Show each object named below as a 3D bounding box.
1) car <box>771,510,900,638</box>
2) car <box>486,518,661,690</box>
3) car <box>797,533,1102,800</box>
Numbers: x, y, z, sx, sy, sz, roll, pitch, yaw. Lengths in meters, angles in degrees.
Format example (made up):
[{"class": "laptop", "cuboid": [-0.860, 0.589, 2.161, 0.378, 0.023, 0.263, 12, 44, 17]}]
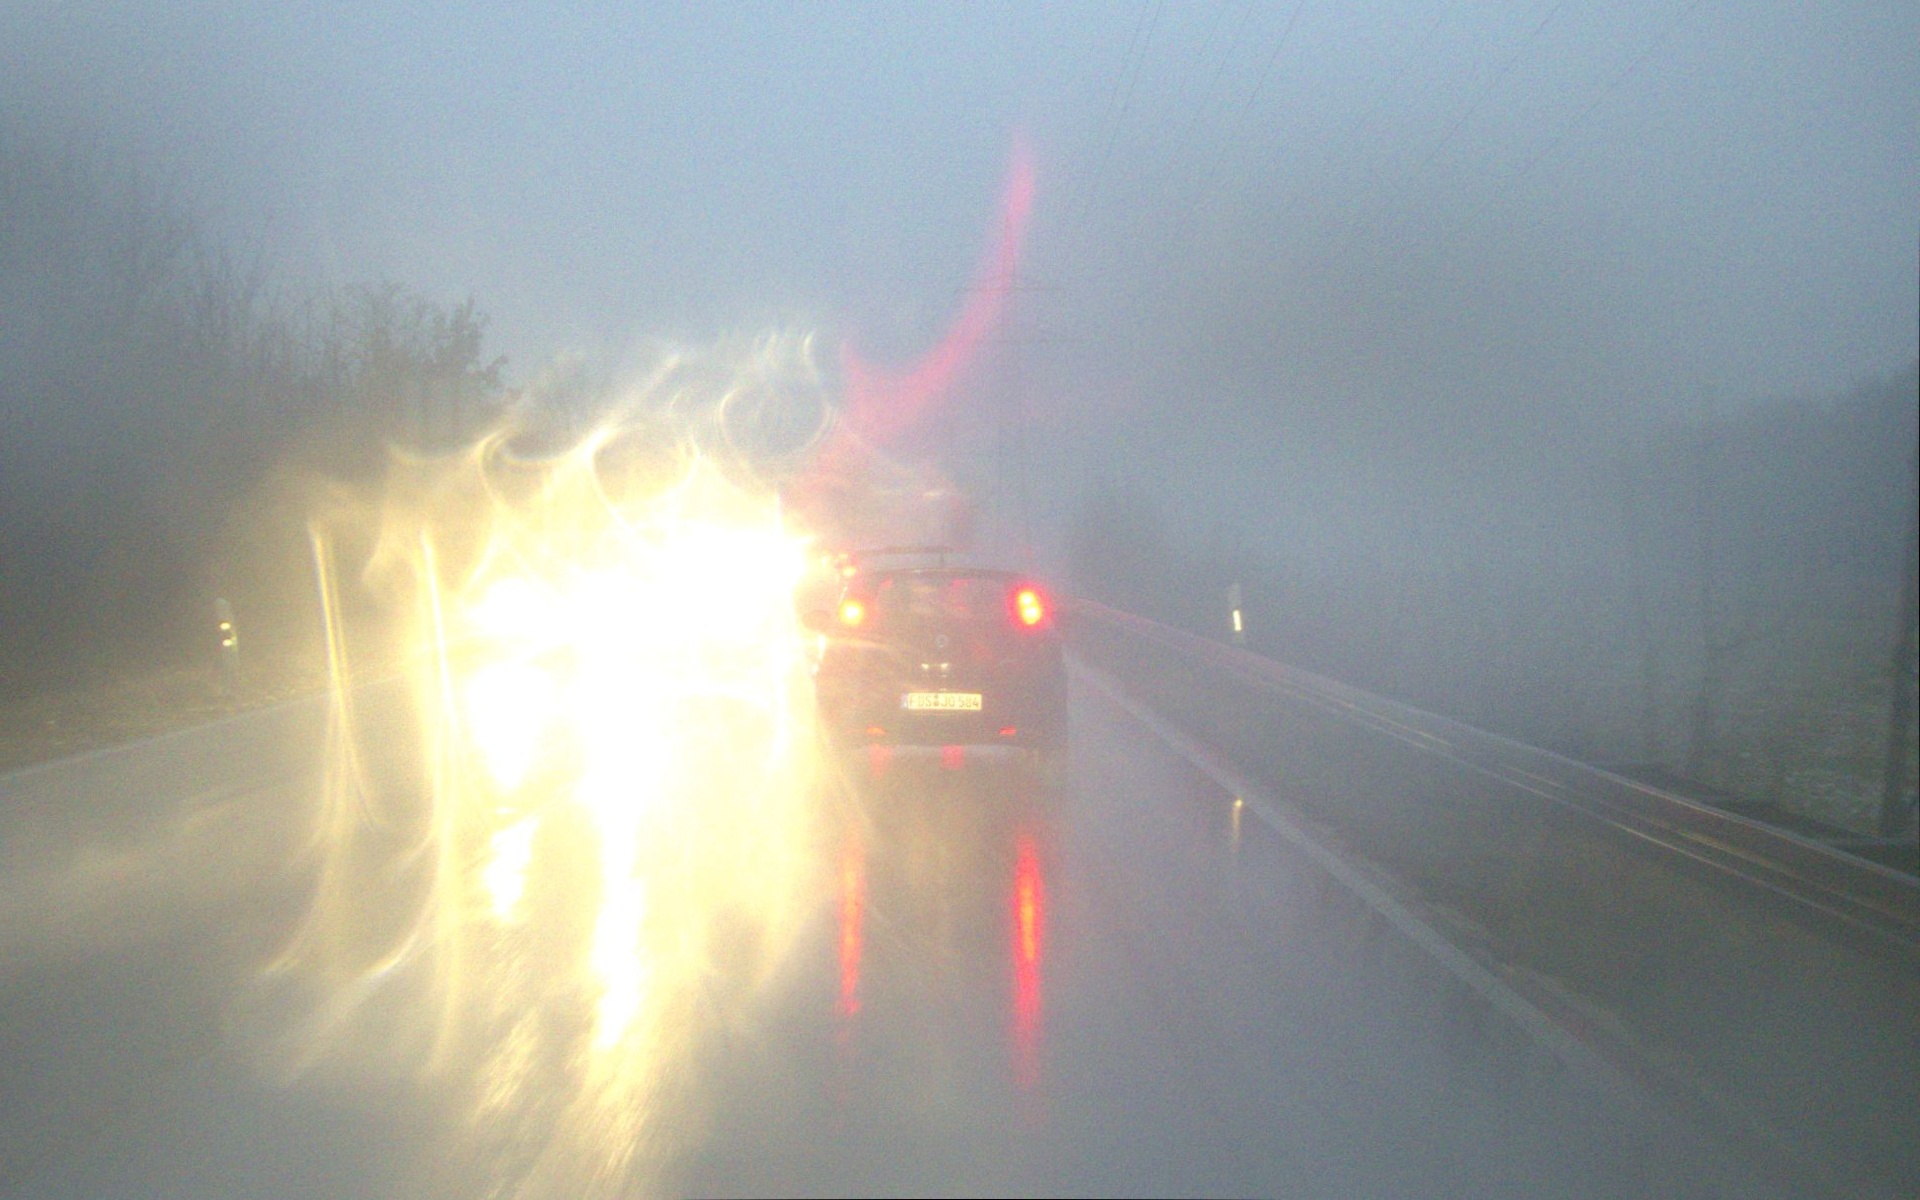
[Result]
[{"class": "car", "cuboid": [-2.030, -0.441, 56.965, 1.993, 2.007, 4.000, -1, 1, 0]}, {"class": "car", "cuboid": [-4.984, 0.072, 44.778, 1.828, 2.111, 4.000, 1, -1, 0]}, {"class": "car", "cuboid": [-0.092, 0.413, 24.505, 1.993, 1.746, 4.000, 0, 1, -1]}]
